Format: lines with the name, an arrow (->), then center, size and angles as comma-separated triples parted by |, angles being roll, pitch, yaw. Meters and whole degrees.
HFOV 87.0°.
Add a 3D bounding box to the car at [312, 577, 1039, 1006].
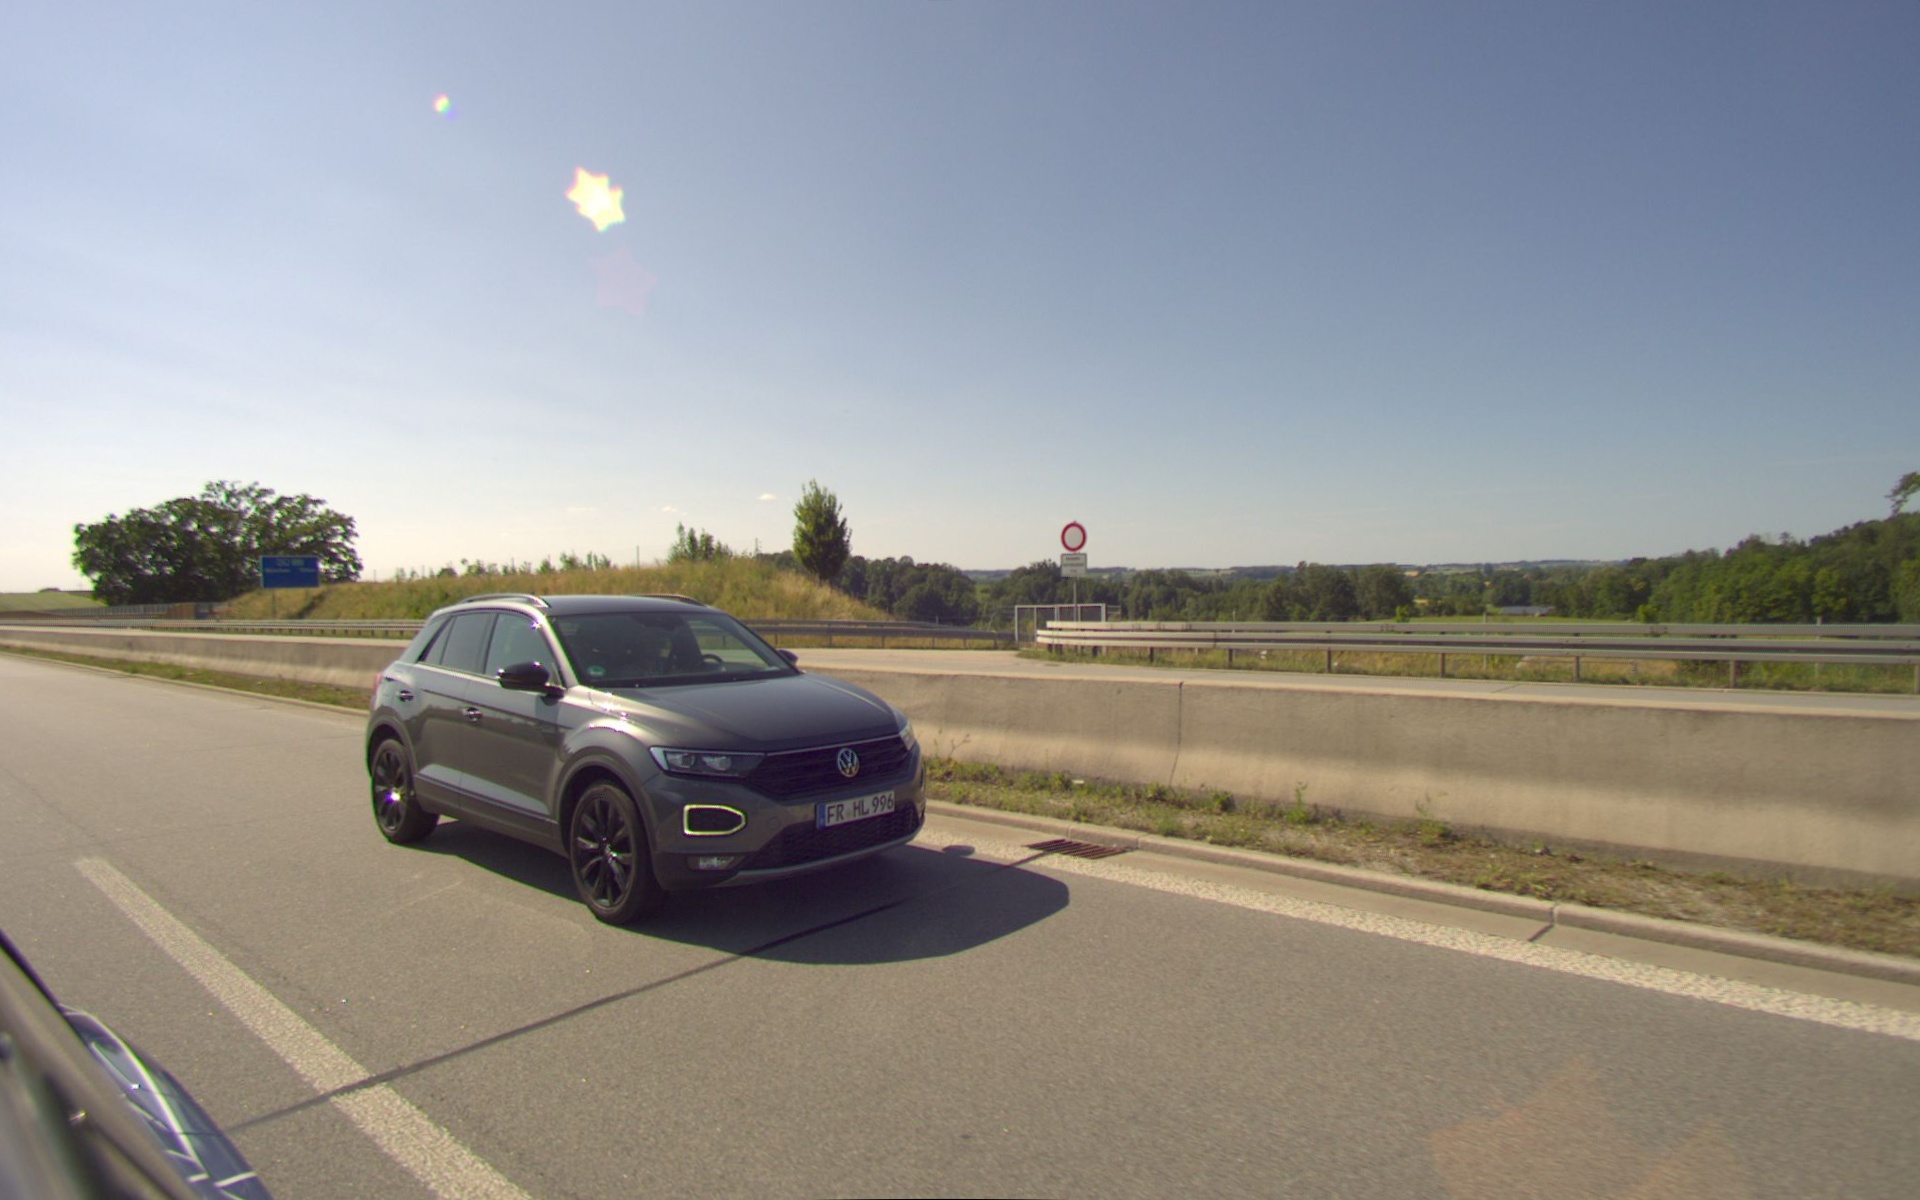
car -> -2.059, 0.743, 6.058 | 4.986, 1.581, 1.754 | -1, 0, 41
